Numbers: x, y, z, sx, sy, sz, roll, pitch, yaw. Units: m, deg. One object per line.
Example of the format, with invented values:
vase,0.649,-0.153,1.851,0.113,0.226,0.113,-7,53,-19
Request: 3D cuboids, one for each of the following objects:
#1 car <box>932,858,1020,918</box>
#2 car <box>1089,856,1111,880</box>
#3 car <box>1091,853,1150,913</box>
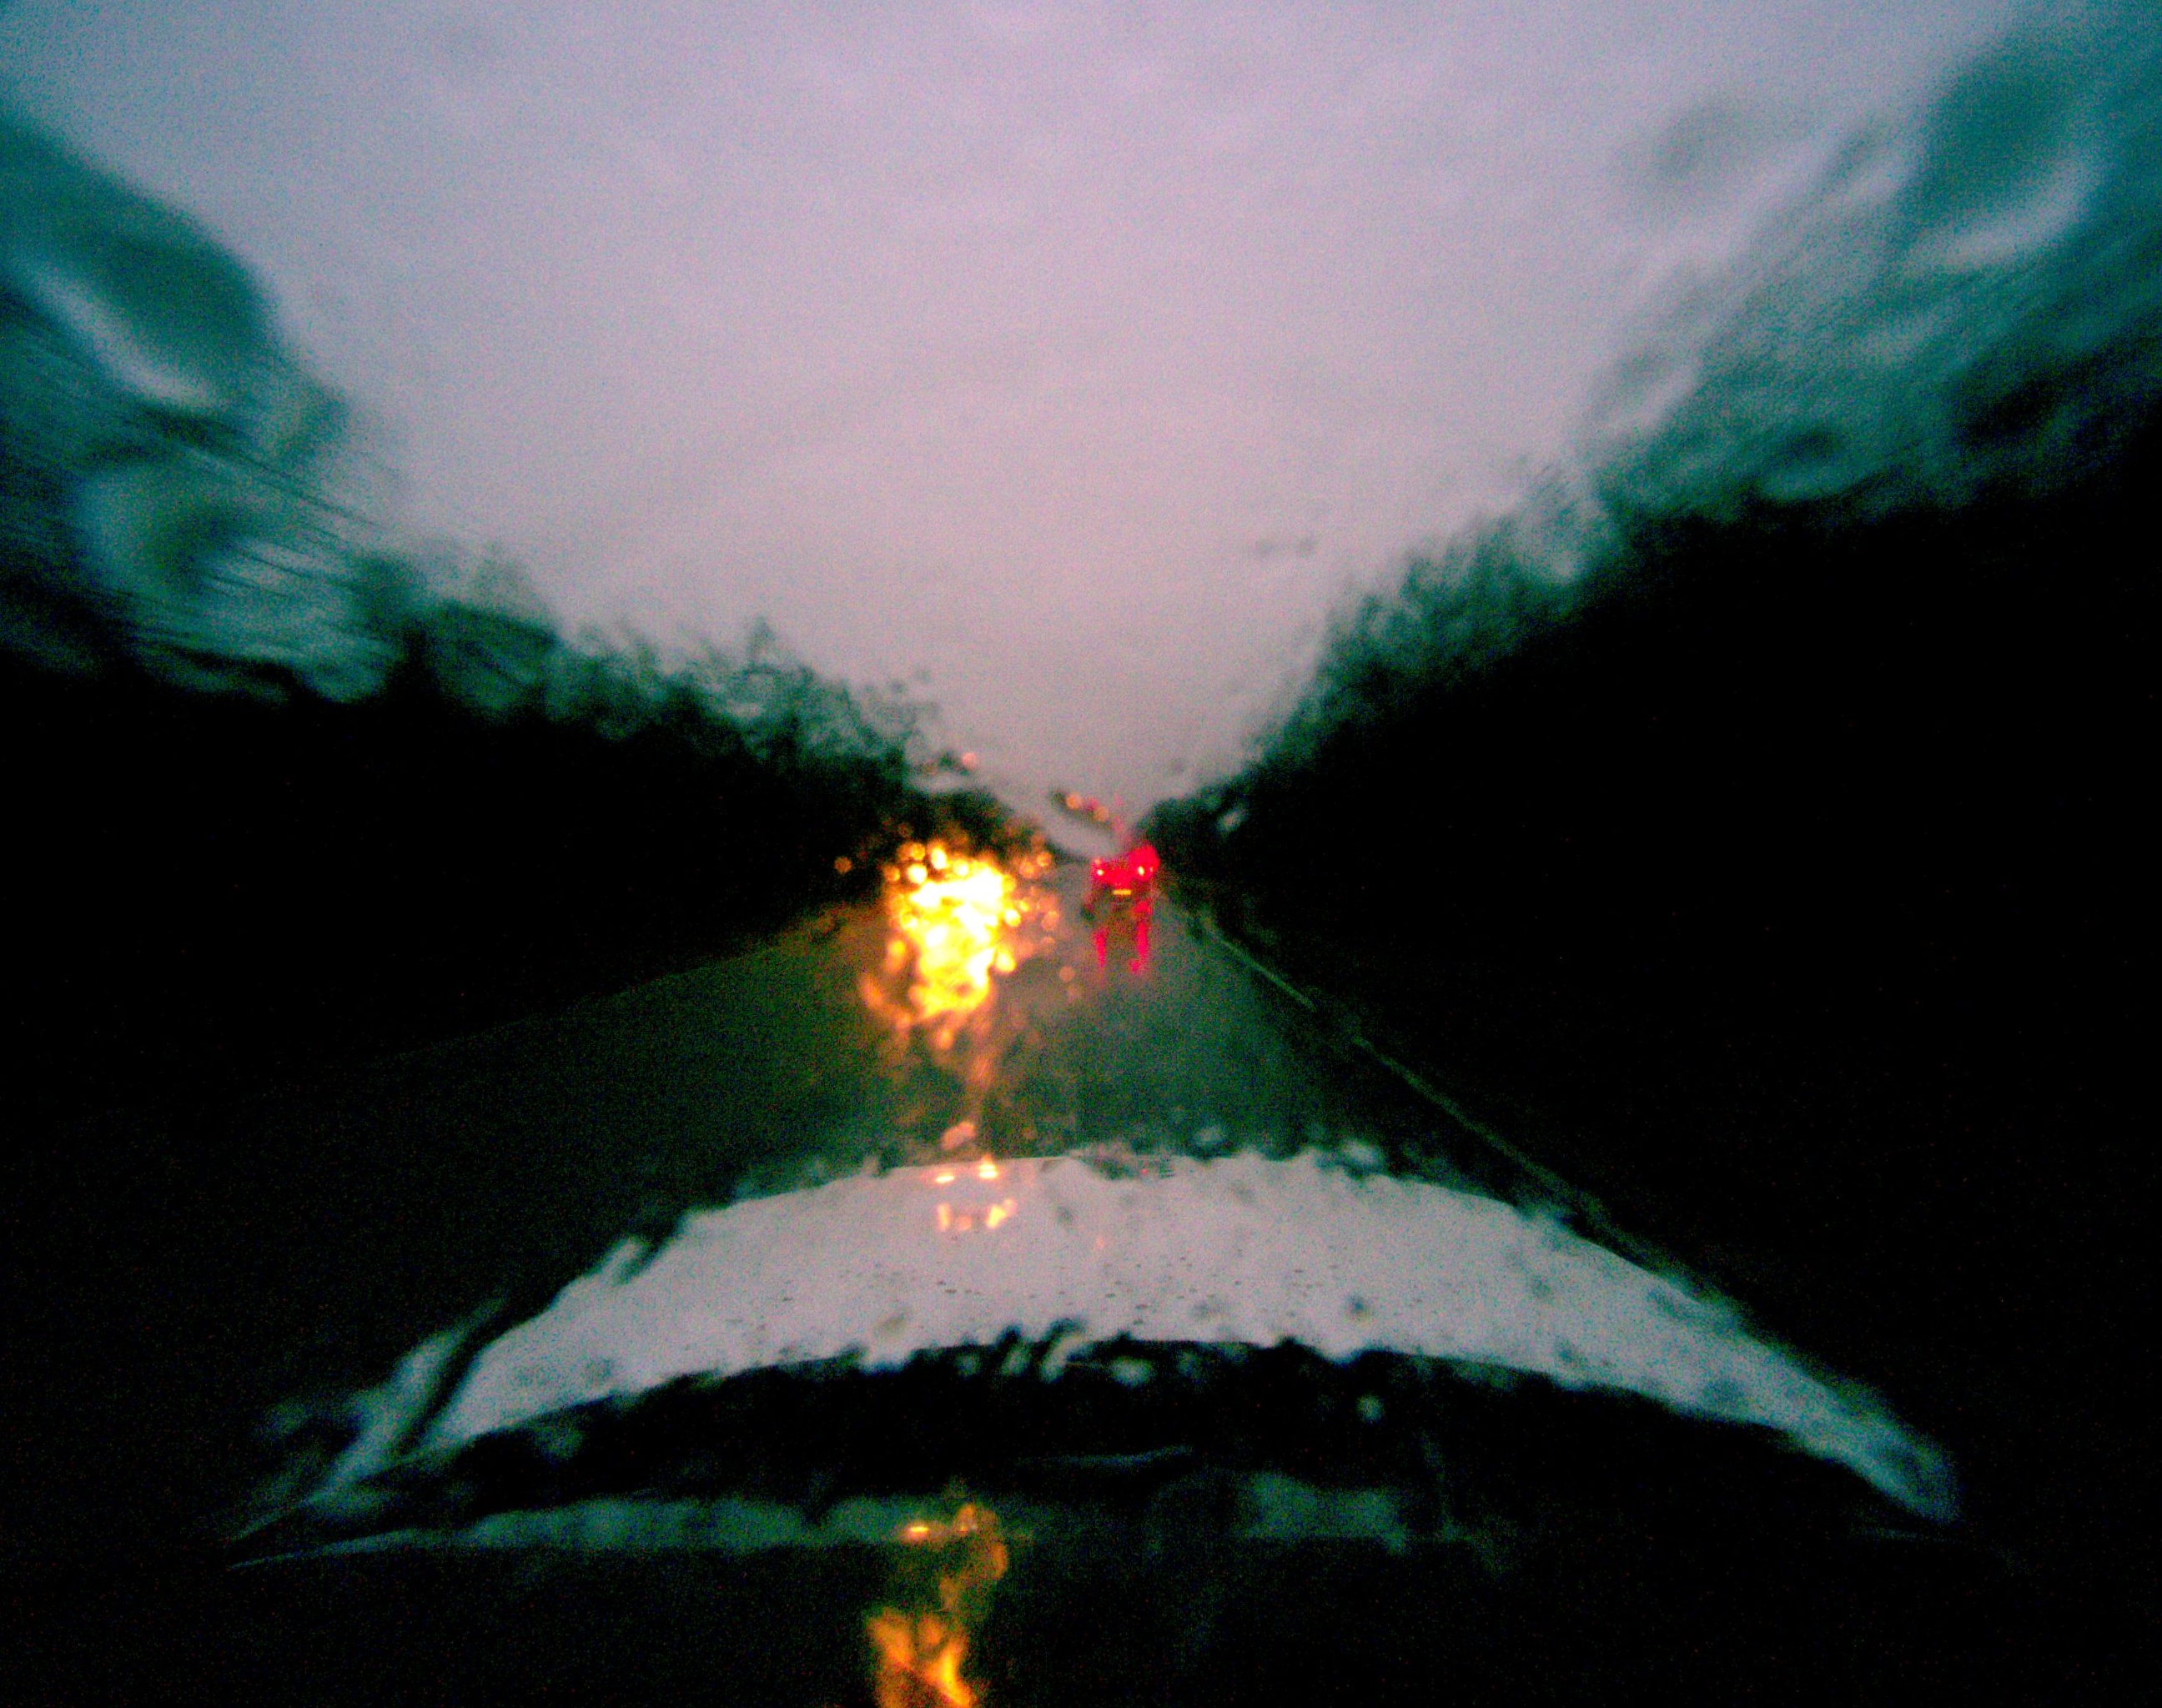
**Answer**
car,-2.955,0.908,24.170,1.692,1.495,5.666,-1,0,2
car,1.494,1.071,63.880,1.727,1.779,4.001,0,0,1
car,1.145,0.807,24.405,1.642,1.672,3.515,0,0,2
